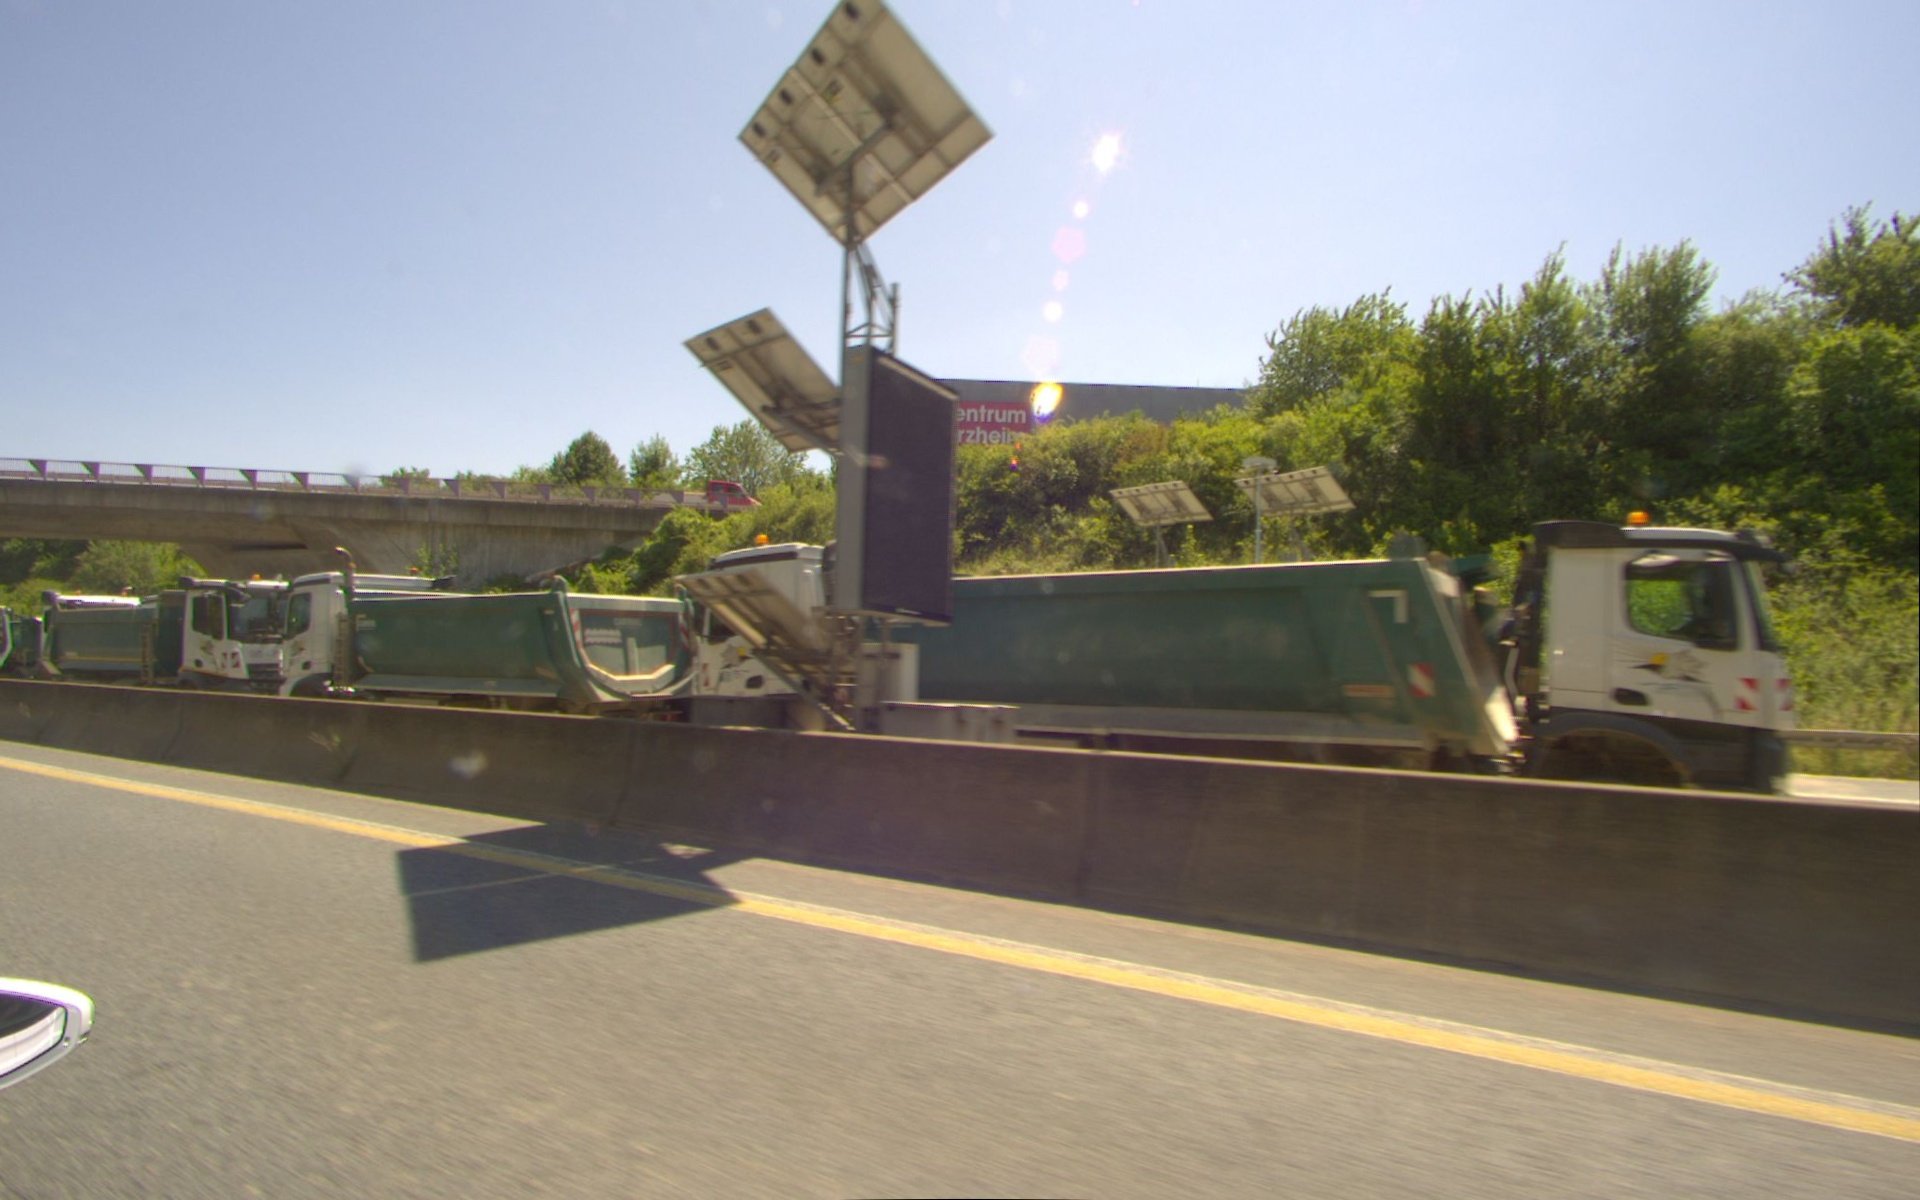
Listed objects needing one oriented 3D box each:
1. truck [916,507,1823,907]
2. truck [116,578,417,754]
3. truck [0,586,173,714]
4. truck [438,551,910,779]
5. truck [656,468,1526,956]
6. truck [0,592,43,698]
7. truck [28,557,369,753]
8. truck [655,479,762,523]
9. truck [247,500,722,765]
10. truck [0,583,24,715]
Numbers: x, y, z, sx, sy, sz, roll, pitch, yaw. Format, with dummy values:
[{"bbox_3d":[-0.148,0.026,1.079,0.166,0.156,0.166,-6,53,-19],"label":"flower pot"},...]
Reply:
[{"bbox_3d":[4.093,1.022,12.266,9.466,3.421,2.683,-1,-2,33],"label":"truck"},{"bbox_3d":[-17.622,1.530,25.193,9.188,3.809,2.684,-1,-2,31],"label":"truck"},{"bbox_3d":[-28.692,1.520,31.815,9.188,3.602,2.684,-1,-2,31],"label":"truck"},{"bbox_3d":[-5.611,1.085,18.617,9.460,3.421,2.684,-1,-2,31],"label":"truck"},{"bbox_3d":[0.862,0.932,11.053,9.272,3.602,2.683,-1,-2,33],"label":"truck"},{"bbox_3d":[-38.457,1.664,38.111,9.188,3.774,2.684,-1,-2,31],"label":"truck"},{"bbox_3d":[-16.829,1.113,21.866,9.188,3.602,2.684,-1,-2,31],"label":"truck"},{"bbox_3d":[-13.672,-5.380,54.681,5.409,2.092,1.937,0,-2,-7],"label":"truck"},{"bbox_3d":[-8.416,0.549,17.145,9.188,3.602,2.684,-1,-2,31],"label":"truck"},{"bbox_3d":[-31.986,1.439,30.489,9.188,3.809,2.684,-1,-2,31],"label":"truck"}]
